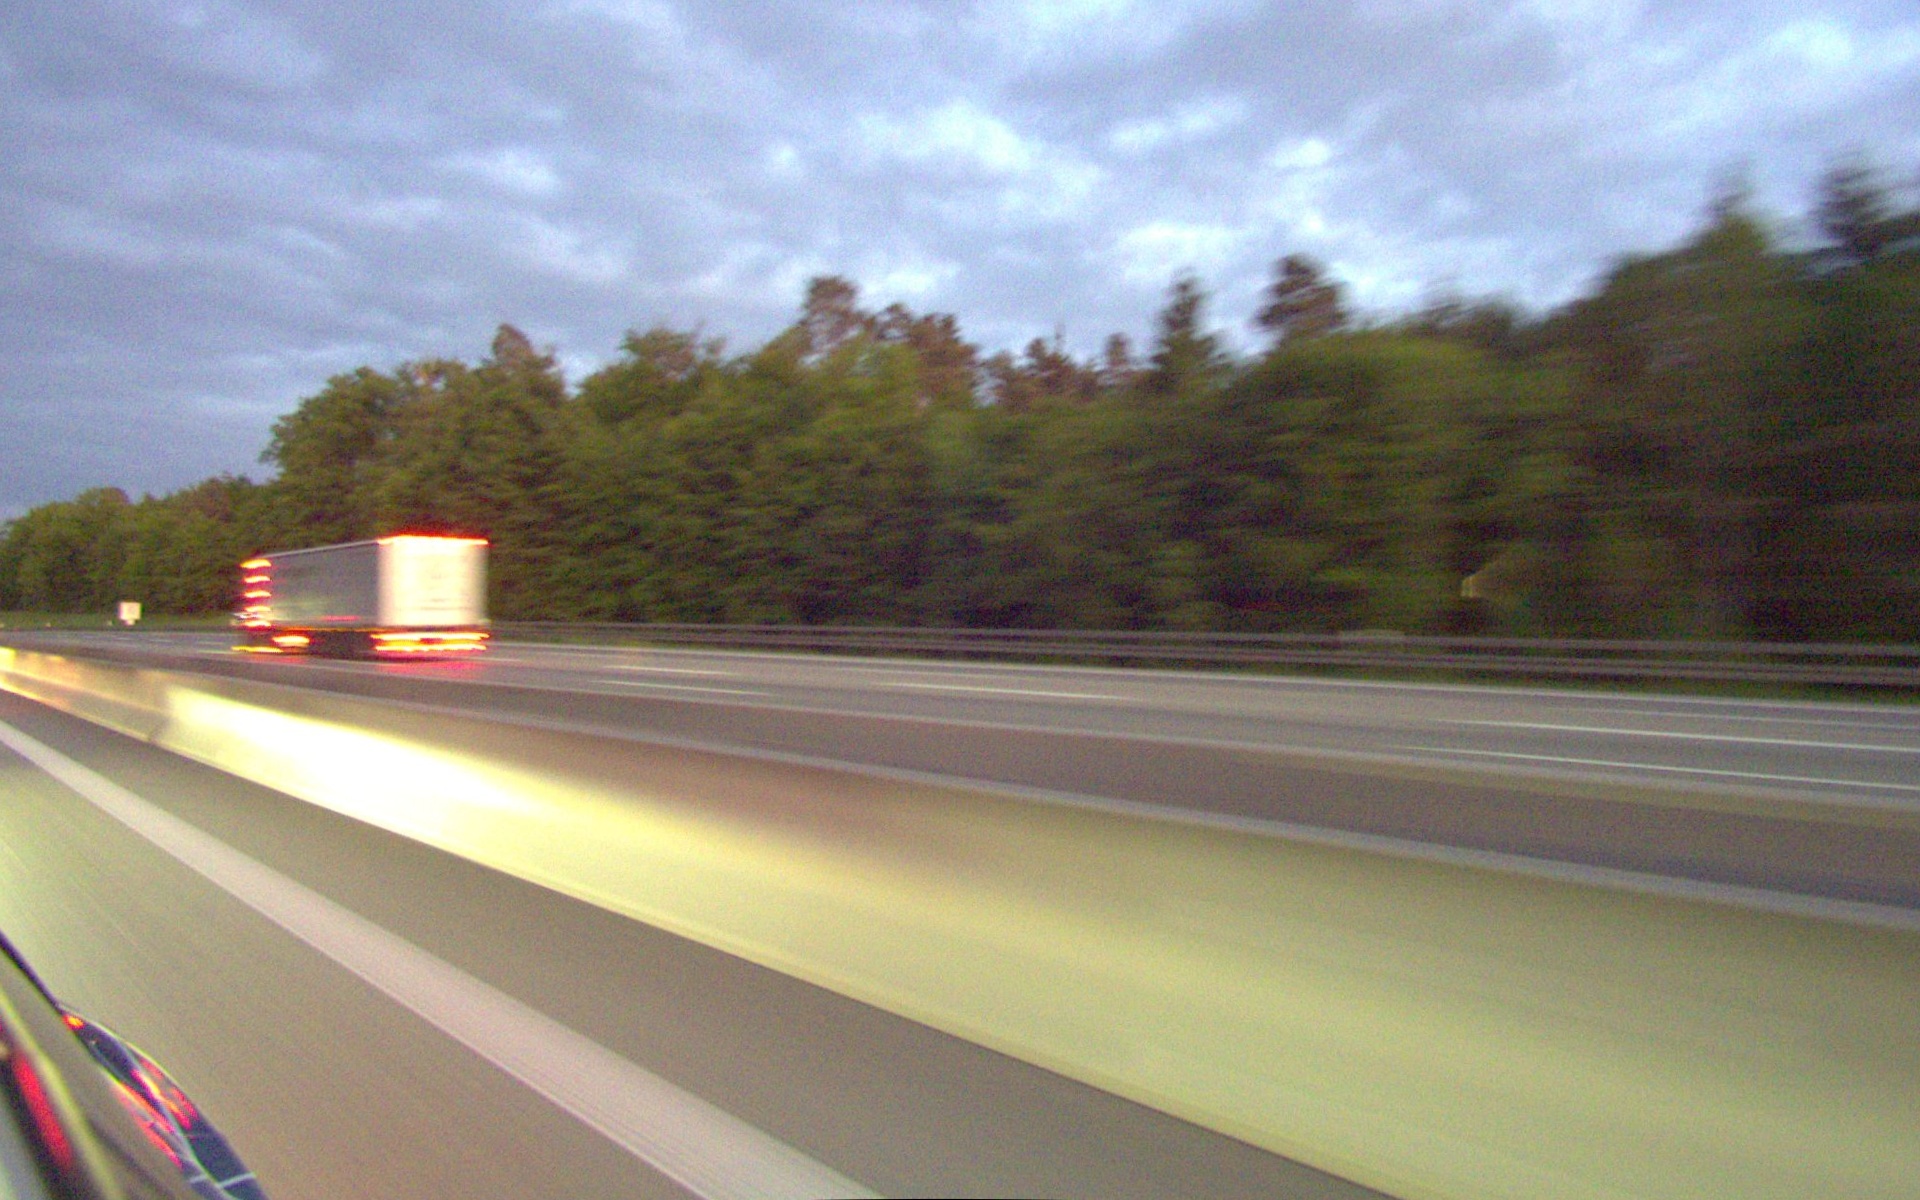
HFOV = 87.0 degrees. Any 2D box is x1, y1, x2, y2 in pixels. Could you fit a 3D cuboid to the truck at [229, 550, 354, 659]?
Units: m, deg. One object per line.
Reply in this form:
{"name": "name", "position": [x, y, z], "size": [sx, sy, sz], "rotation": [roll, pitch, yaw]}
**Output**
{"name": "truck", "position": [-27.847, 0.235, 42.043], "size": [6.519, 4.163, 2.623], "rotation": [-1, -1, 40]}

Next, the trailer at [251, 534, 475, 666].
{"name": "trailer", "position": [-22.578, 0.132, 37.603], "size": [14.315, 4.163, 2.623], "rotation": [-1, -1, 40]}
